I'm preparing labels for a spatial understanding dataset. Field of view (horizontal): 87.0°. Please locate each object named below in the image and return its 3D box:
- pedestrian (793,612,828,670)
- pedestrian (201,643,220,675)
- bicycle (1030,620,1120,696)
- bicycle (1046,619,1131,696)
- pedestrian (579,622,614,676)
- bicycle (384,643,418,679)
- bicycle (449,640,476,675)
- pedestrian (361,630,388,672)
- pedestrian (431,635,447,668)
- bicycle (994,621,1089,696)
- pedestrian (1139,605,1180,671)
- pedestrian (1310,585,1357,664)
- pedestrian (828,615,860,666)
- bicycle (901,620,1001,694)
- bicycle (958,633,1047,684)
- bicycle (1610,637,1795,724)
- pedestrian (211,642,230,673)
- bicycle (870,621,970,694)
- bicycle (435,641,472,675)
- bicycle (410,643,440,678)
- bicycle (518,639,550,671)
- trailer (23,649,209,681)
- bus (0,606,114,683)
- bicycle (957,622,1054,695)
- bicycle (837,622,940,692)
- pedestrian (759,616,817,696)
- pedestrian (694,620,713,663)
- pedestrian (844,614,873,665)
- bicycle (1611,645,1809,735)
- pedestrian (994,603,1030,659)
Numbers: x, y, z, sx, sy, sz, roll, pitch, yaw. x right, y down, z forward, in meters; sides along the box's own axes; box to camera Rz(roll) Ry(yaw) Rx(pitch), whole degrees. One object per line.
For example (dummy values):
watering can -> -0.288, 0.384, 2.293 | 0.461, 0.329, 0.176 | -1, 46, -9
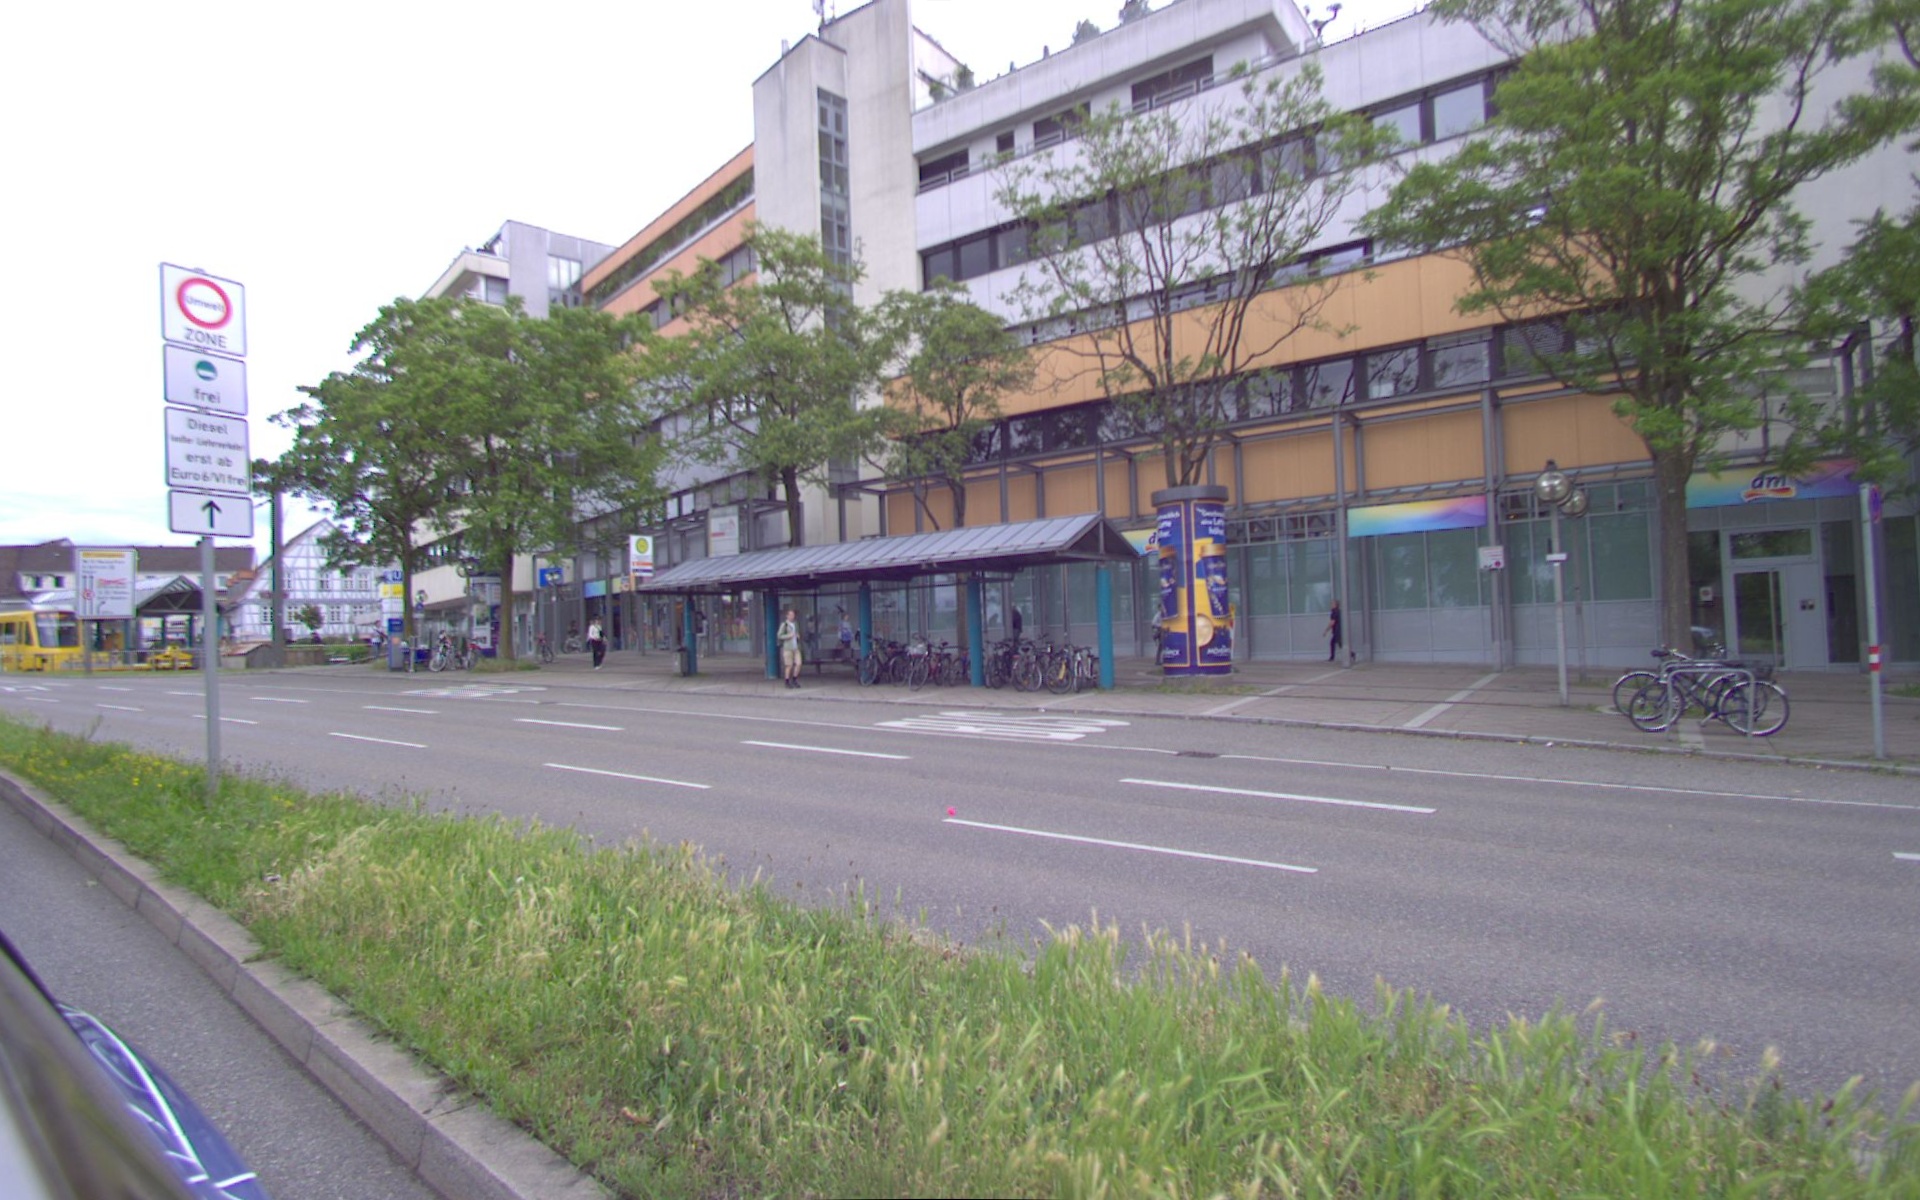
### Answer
pedestrian -> -4.697, 1.276, 31.703 | 0.763, 1.729, 0.789 | -2, 0, -32
pedestrian -> -37.240, 2.938, 50.289 | 0.618, 1.585, 0.594 | -3, -3, 31
bicycle -> 2.511, 1.198, 21.681 | 0.698, 1.518, 2.876 | -2, -2, 32
bicycle -> 2.786, 1.180, 21.537 | 0.597, 1.518, 2.876 | -2, -2, 32
pedestrian -> -12.037, 1.613, 33.539 | 0.705, 1.725, 0.768 | -2, 0, 35
bicycle -> -19.606, 2.114, 35.545 | 0.594, 1.170, 1.971 | -3, 0, -17
bicycle -> -17.388, 1.994, 35.402 | 0.594, 1.170, 1.694 | -1, -2, -18
pedestrian -> -26.328, 2.296, 45.518 | 0.871, 1.891, 0.738 | -3, -3, 33
pedestrian -> -28.200, 2.783, 54.750 | 0.626, 1.713, 0.545 | -3, -3, 31
bicycle -> 1.825, 1.228, 22.071 | 0.776, 1.518, 2.876 | -2, -2, 32
pedestrian -> 5.361, 1.009, 27.192 | 0.787, 1.729, 0.764 | -2, 0, 32
pedestrian -> 9.829, 0.659, 26.655 | 0.932, 2.029, 0.888 | -2, -2, 35
pedestrian -> -3.726, 1.298, 32.433 | 0.705, 1.595, 0.660 | -2, 0, 35
bicycle -> -0.168, 1.287, 23.743 | 0.809, 1.518, 2.875 | -3, 0, 34
bicycle -> 1.062, 1.375, 24.414 | 0.803, 1.121, 2.876 | -2, -2, 32
bicycle -> 10.305, 1.110, 14.144 | 1.946, 1.145, 0.709 | -2, -2, 27
pedestrian -> -37.324, 2.899, 51.073 | 0.618, 1.585, 0.594 | -3, -3, 31
bicycle -> -0.909, 1.341, 24.275 | 0.889, 1.518, 2.876 | -2, 0, 32
bicycle -> -18.292, 2.095, 36.556 | 1.966, 1.170, 0.596 | -4, -3, 45
bicycle -> -18.738, 2.105, 35.490 | 0.594, 1.170, 1.971 | -1, -2, -17
bicycle -> -16.044, 2.060, 38.147 | 0.663, 1.170, 2.023 | -1, -2, -10
trailer -> -41.060, 3.158, 49.043 | 12.074, 1.343, 2.822 | -3, -2, 29
bus -> -54.899, 2.659, 57.577 | 19.258, 3.889, 3.851 | -3, -3, 29
bicycle -> 1.060, 1.266, 22.561 | 0.803, 1.518, 2.876 | -2, -2, 32
bicycle -> -1.697, 1.367, 24.855 | 0.969, 1.518, 2.876 | -2, 0, 32
pedestrian -> -4.102, 1.323, 24.142 | 1.212, 1.836, 0.697 | -2, 0, 38
pedestrian -> -9.995, 1.601, 39.412 | 0.623, 1.612, 0.624 | -2, 0, -18
pedestrian -> -3.301, 1.284, 32.970 | 0.622, 1.612, 0.626 | -3, 0, 38
bicycle -> 9.712, 1.149, 13.213 | 1.927, 1.092, 0.825 | -2, -2, 28
pedestrian -> 1.648, 0.974, 31.972 | 0.788, 1.729, 0.763 | -2, 0, 38
